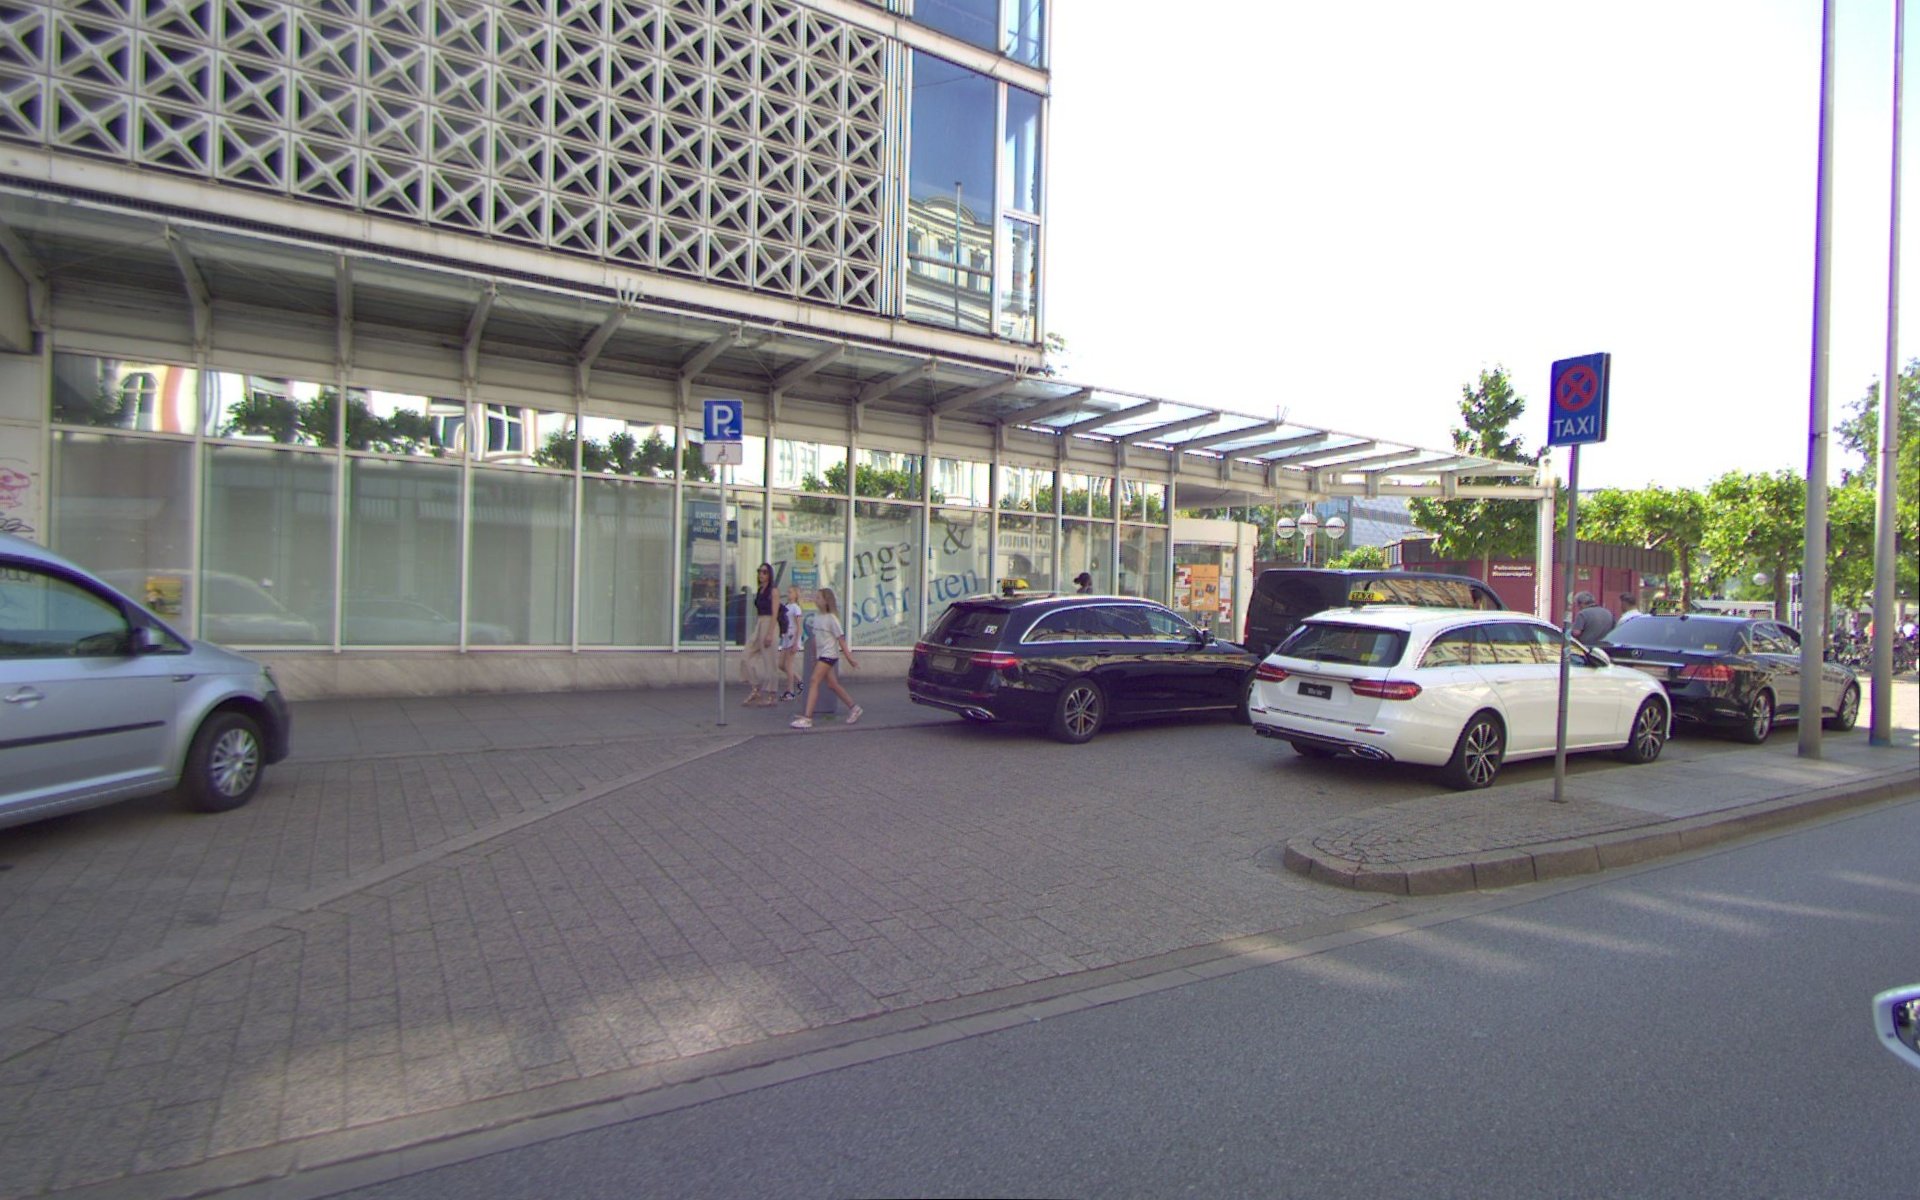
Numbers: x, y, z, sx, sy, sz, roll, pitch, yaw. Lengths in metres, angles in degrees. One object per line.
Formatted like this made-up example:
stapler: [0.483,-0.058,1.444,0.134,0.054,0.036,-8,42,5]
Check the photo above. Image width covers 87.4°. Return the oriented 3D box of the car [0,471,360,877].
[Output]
car: [-5.527,0.341,5.132,1.969,1.935,4.448,1,0,5]

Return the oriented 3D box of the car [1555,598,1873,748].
car: [9.750,0.833,12.881,4.658,1.621,1.751,1,0,-33]

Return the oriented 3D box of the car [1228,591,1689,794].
car: [4.943,0.735,9.751,4.685,1.543,1.789,1,1,-32]

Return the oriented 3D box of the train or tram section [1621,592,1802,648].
train or tram section: [54.529,1.434,73.093,10.780,3.726,2.622,2,0,4]

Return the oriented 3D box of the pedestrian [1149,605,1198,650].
pedestrian: [6.854,0.885,32.261,1.245,1.404,0.849,1,1,-32]

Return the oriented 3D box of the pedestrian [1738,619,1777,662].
pedestrian: [27.052,1.370,34.063,0.884,1.400,0.669,1,1,-23]

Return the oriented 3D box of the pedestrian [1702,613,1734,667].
pedestrian: [24.483,1.272,32.447,0.681,1.700,0.665,1,1,-39]

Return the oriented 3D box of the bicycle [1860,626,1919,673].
bicycle: [28.487,1.491,30.373,0.656,1.326,1.771,1,0,-34]

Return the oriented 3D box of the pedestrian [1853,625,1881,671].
pedestrian: [39.067,2.047,43.266,0.651,1.904,0.631,3,1,24]

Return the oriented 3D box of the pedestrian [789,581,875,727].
pedestrian: [-1.352,0.560,10.573,0.634,1.456,0.589,2,2,-34]

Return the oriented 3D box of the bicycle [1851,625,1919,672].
bicycle: [27.740,1.435,29.826,0.656,1.326,1.771,1,0,-34]

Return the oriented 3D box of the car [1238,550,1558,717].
car: [6.281,0.444,14.249,4.632,2.040,1.822,1,0,-32]

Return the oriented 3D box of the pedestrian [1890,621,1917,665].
pedestrian: [39.473,1.797,42.010,0.598,1.762,0.574,2,1,-25]

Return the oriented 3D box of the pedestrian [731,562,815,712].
pedestrian: [-2.222,0.423,11.907,0.634,1.683,0.782,2,2,-34]

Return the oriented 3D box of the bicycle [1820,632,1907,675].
bicycle: [26.078,1.530,29.024,0.557,1.147,1.771,1,0,-33]

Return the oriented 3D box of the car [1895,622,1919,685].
car: [26.283,1.420,24.804,4.769,1.562,1.896,2,1,-4]

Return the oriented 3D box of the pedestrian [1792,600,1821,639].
pedestrian: [40.304,0.921,47.808,0.788,1.772,0.606,2,0,0]

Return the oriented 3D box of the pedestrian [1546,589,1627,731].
pedestrian: [8.253,0.775,13.252,0.679,1.816,0.620,1,0,8]

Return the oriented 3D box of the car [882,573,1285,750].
car: [1.499,0.602,11.410,4.358,1.632,1.979,2,1,-36]

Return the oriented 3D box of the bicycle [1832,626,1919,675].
bicycle: [26.615,1.452,29.225,0.557,1.326,1.771,1,0,-33]

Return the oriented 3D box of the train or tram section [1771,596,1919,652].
train or tram section: [67.311,1.786,72.164,15.235,3.726,2.622,2,0,4]

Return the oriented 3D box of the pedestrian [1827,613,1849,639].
pedestrian: [44.100,1.313,50.434,0.600,1.279,0.611,1,0,14]

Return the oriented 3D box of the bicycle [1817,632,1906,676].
bicycle: [25.577,1.515,28.531,0.557,1.120,1.771,1,0,-33]

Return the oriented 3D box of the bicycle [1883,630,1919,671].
bicycle: [29.731,1.584,30.962,0.656,1.231,1.771,1,0,-34]

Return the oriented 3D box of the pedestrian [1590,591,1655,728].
pedestrian: [9.037,0.800,13.707,0.528,1.816,0.533,1,0,8]

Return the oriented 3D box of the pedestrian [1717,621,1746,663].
pedestrian: [25.099,1.347,32.687,0.663,1.326,0.684,2,1,41]

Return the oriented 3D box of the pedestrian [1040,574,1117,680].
pedestrian: [1.953,0.440,16.574,1.094,1.684,0.593,1,0,-30]
